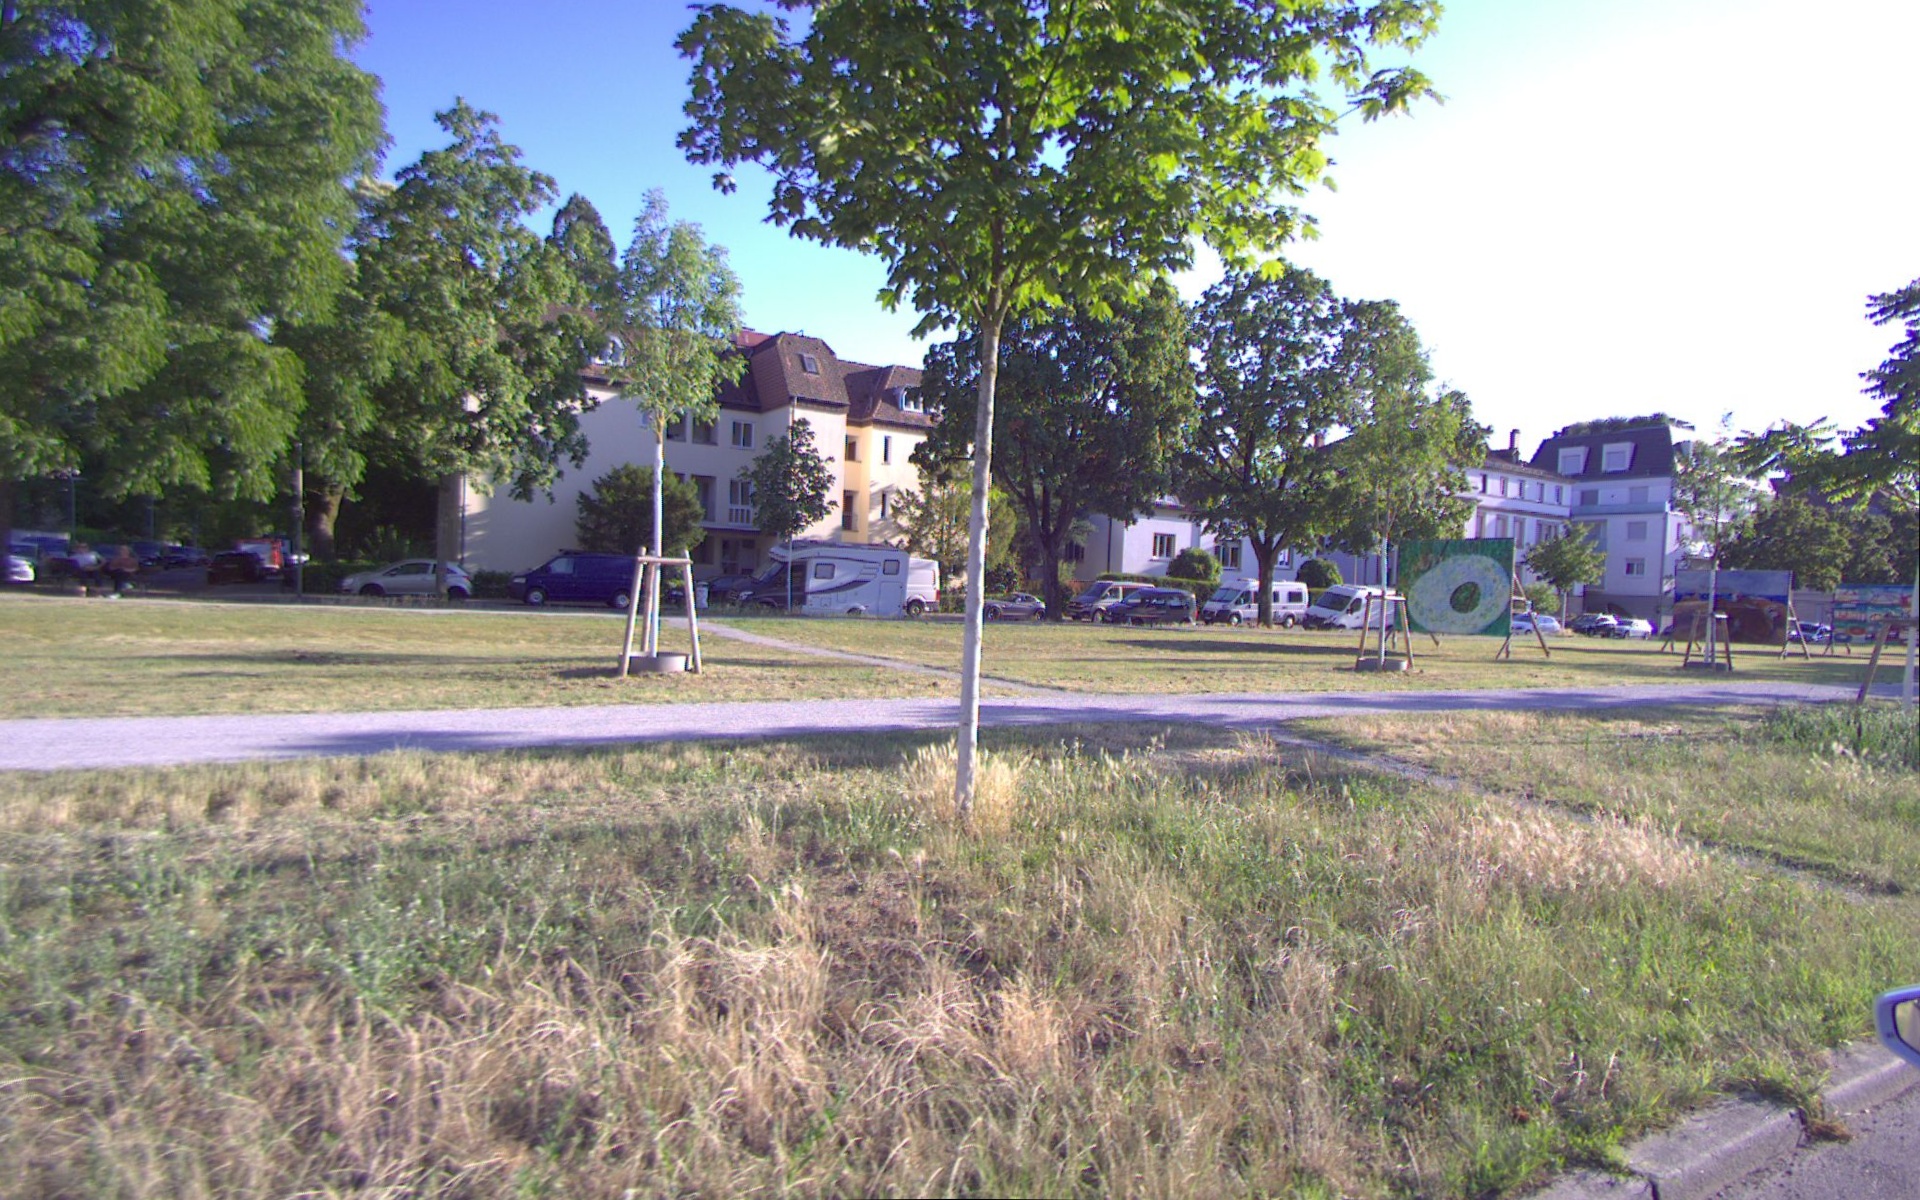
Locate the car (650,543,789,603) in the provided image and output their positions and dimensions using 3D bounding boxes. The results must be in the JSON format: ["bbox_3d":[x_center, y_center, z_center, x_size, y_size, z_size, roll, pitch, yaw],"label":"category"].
[{"bbox_3d":[-9.512,-1.040,39.831,4.989,2.031,1.961,3,1,-29],"label":"car"}]

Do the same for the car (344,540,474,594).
[{"bbox_3d":[-18.817,-1.110,34.355,3.767,1.563,1.983,3,1,-32],"label":"car"}]

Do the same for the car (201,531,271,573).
[{"bbox_3d":[-32.987,-2.183,45.875,2.156,1.702,4.111,3,1,-31],"label":"car"}]

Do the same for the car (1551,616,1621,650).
[{"bbox_3d":[44.745,2.366,71.776,4.795,2.158,2.229,4,-3,-29],"label":"car"}]

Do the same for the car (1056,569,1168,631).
[{"bbox_3d":[7.535,0.067,49.584,5.267,2.638,2.124,4,-3,-32],"label":"car"}]

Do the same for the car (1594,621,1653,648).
[{"bbox_3d":[49.023,2.578,74.166,4.406,1.767,1.814,4,-3,-29],"label":"car"}]

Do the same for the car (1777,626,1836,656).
[{"bbox_3d":[64.245,3.112,76.241,5.316,2.027,2.007,4,-3,-33],"label":"car"}]

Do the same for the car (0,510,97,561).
[{"bbox_3d":[-37.086,-2.587,40.823,2.048,1.792,5.026,3,1,-30],"label":"car"}]

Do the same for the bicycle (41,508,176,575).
[{"bbox_3d":[-19.703,-1.337,23.303,2.300,1.360,0.509,3,1,-27],"label":"bicycle"}]

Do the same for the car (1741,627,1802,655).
[{"bbox_3d":[58.852,2.981,72.867,4.637,1.851,1.920,4,-3,-30],"label":"car"}]

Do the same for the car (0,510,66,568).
[{"bbox_3d":[-34.027,-2.224,36.236,1.961,1.925,4.483,3,1,-34],"label":"car"}]

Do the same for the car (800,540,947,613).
[{"bbox_3d":[-3.715,-0.937,43.557,6.020,2.631,1.984,4,-3,-30],"label":"car"}]

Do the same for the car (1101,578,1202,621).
[{"bbox_3d":[8.144,-0.007,42.596,4.261,1.585,1.406,3,1,-31],"label":"car"}]

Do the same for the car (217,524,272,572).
[{"bbox_3d":[-35.638,-2.583,50.130,1.850,2.152,3.966,3,1,-31],"label":"car"}]

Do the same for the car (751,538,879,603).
[{"bbox_3d":[-5.085,-1.016,35.308,3.952,2.040,1.984,3,1,-29],"label":"car"}]

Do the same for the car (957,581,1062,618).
[{"bbox_3d":[2.307,0.001,46.767,4.502,1.421,1.987,4,-3,-26],"label":"car"}]

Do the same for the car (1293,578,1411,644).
[{"bbox_3d":[19.400,0.610,49.660,5.802,2.862,2.250,4,-3,-30],"label":"car"}]

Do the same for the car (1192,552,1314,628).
[{"bbox_3d":[15.896,-0.435,54.311,6.686,3.605,2.293,4,-3,-30],"label":"car"}]

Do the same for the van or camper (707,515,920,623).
[{"bbox_3d":[-5.085,-1.016,35.308,6.821,3.306,2.630,3,1,-29],"label":"van or camper"}]

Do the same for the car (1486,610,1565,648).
[{"bbox_3d":[32.544,1.704,57.743,4.587,1.924,1.826,4,-3,-29],"label":"car"}]

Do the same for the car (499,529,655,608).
[{"bbox_3d":[-14.094,-1.077,37.019,5.056,2.450,1.929,4,-3,-29],"label":"car"}]
